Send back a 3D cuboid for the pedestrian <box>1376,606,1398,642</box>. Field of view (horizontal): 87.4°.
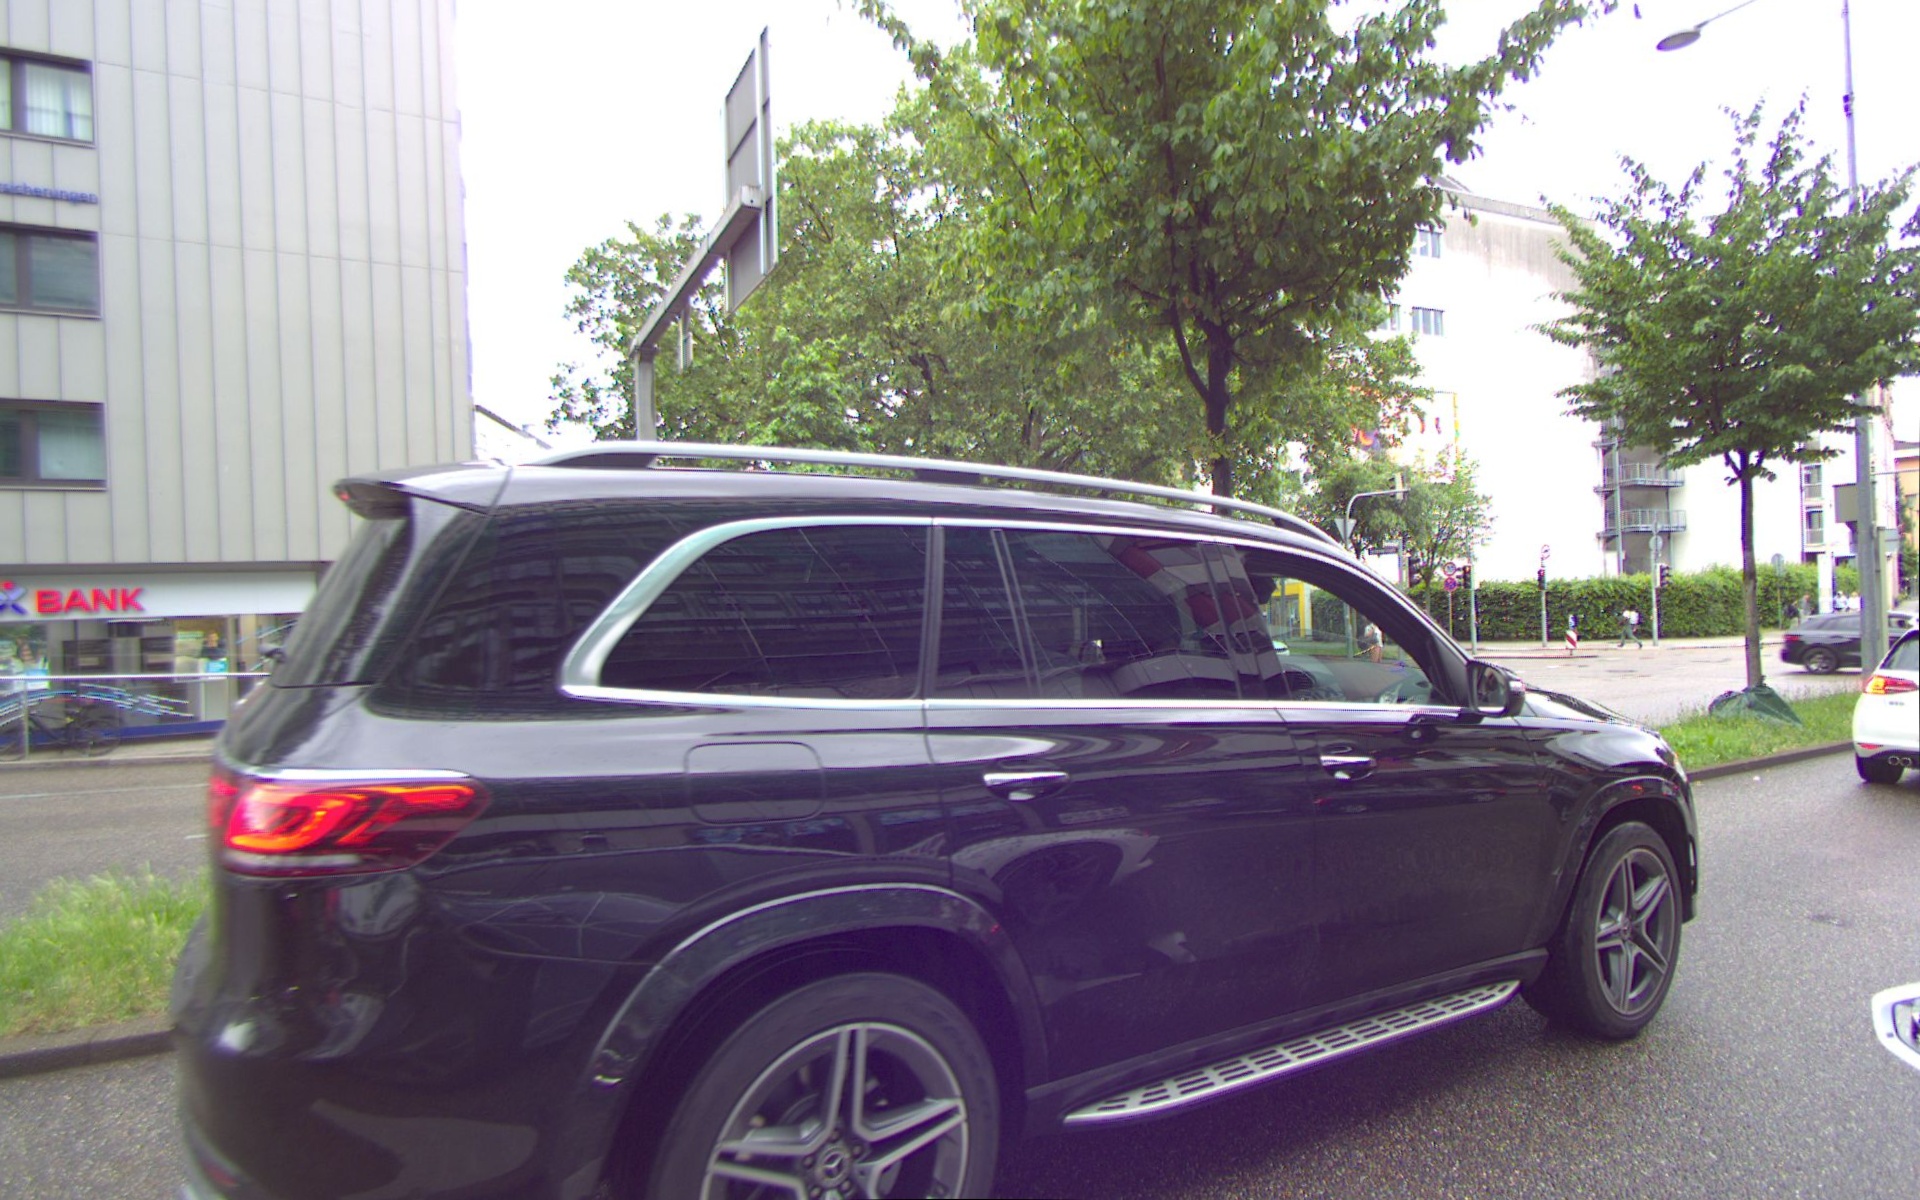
[{"bbox_3d":[20.049,1.107,47.153,0.633,1.664,0.726,2,-1,-37],"label":"pedestrian"}]

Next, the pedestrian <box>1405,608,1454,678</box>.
[{"bbox_3d":[12.452,1.131,26.652,0.702,1.807,0.917,2,-1,-35],"label":"pedestrian"}]

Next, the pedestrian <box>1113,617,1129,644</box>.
[{"bbox_3d":[10.074,1.932,63.028,0.723,1.664,0.635,2,0,-23],"label":"pedestrian"}]

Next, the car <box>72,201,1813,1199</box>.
[{"bbox_3d":[0.574,0.513,3.391,5.013,1.895,1.902,2,-1,-30],"label":"car"}]

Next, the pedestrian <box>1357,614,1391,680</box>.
[{"bbox_3d":[10.860,1.225,26.336,0.572,1.684,0.554,-2,0,-30],"label":"pedestrian"}]

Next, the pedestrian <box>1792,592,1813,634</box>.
[{"bbox_3d":[36.048,0.554,42.990,0.559,1.771,0.535,2,-1,-35],"label":"pedestrian"}]

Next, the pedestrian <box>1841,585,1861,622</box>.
[{"bbox_3d":[43.114,0.163,48.587,0.651,1.751,0.591,2,-1,-38],"label":"pedestrian"}]

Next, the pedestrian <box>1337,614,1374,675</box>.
[{"bbox_3d":[11.343,1.267,28.815,0.620,1.684,0.749,-2,0,-30],"label":"pedestrian"}]

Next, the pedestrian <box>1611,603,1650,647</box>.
[{"bbox_3d":[25.439,0.940,38.114,0.677,1.599,1.055,2,-1,-34],"label":"pedestrian"}]

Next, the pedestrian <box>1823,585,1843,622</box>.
[{"bbox_3d":[42.547,0.160,48.935,0.651,1.751,0.591,2,-1,-38],"label":"pedestrian"}]

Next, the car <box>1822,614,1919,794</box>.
[{"bbox_3d":[9.540,0.866,8.973,3.799,1.448,1.768,0,0,-32],"label":"car"}]

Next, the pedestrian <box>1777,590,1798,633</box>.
[{"bbox_3d":[34.675,0.500,42.090,0.741,1.771,0.535,2,-1,-38],"label":"pedestrian"}]

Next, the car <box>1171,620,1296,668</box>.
[{"bbox_3d":[9.804,1.534,36.286,1.623,1.506,4.261,0,1,-37],"label":"car"}]

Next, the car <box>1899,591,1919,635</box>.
[{"bbox_3d":[34.946,0.442,35.678,3.571,1.506,1.565,0,1,-33],"label":"car"}]

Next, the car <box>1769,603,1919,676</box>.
[{"bbox_3d":[20.972,0.871,22.510,1.690,1.586,4.193,1,-2,-40],"label":"car"}]
